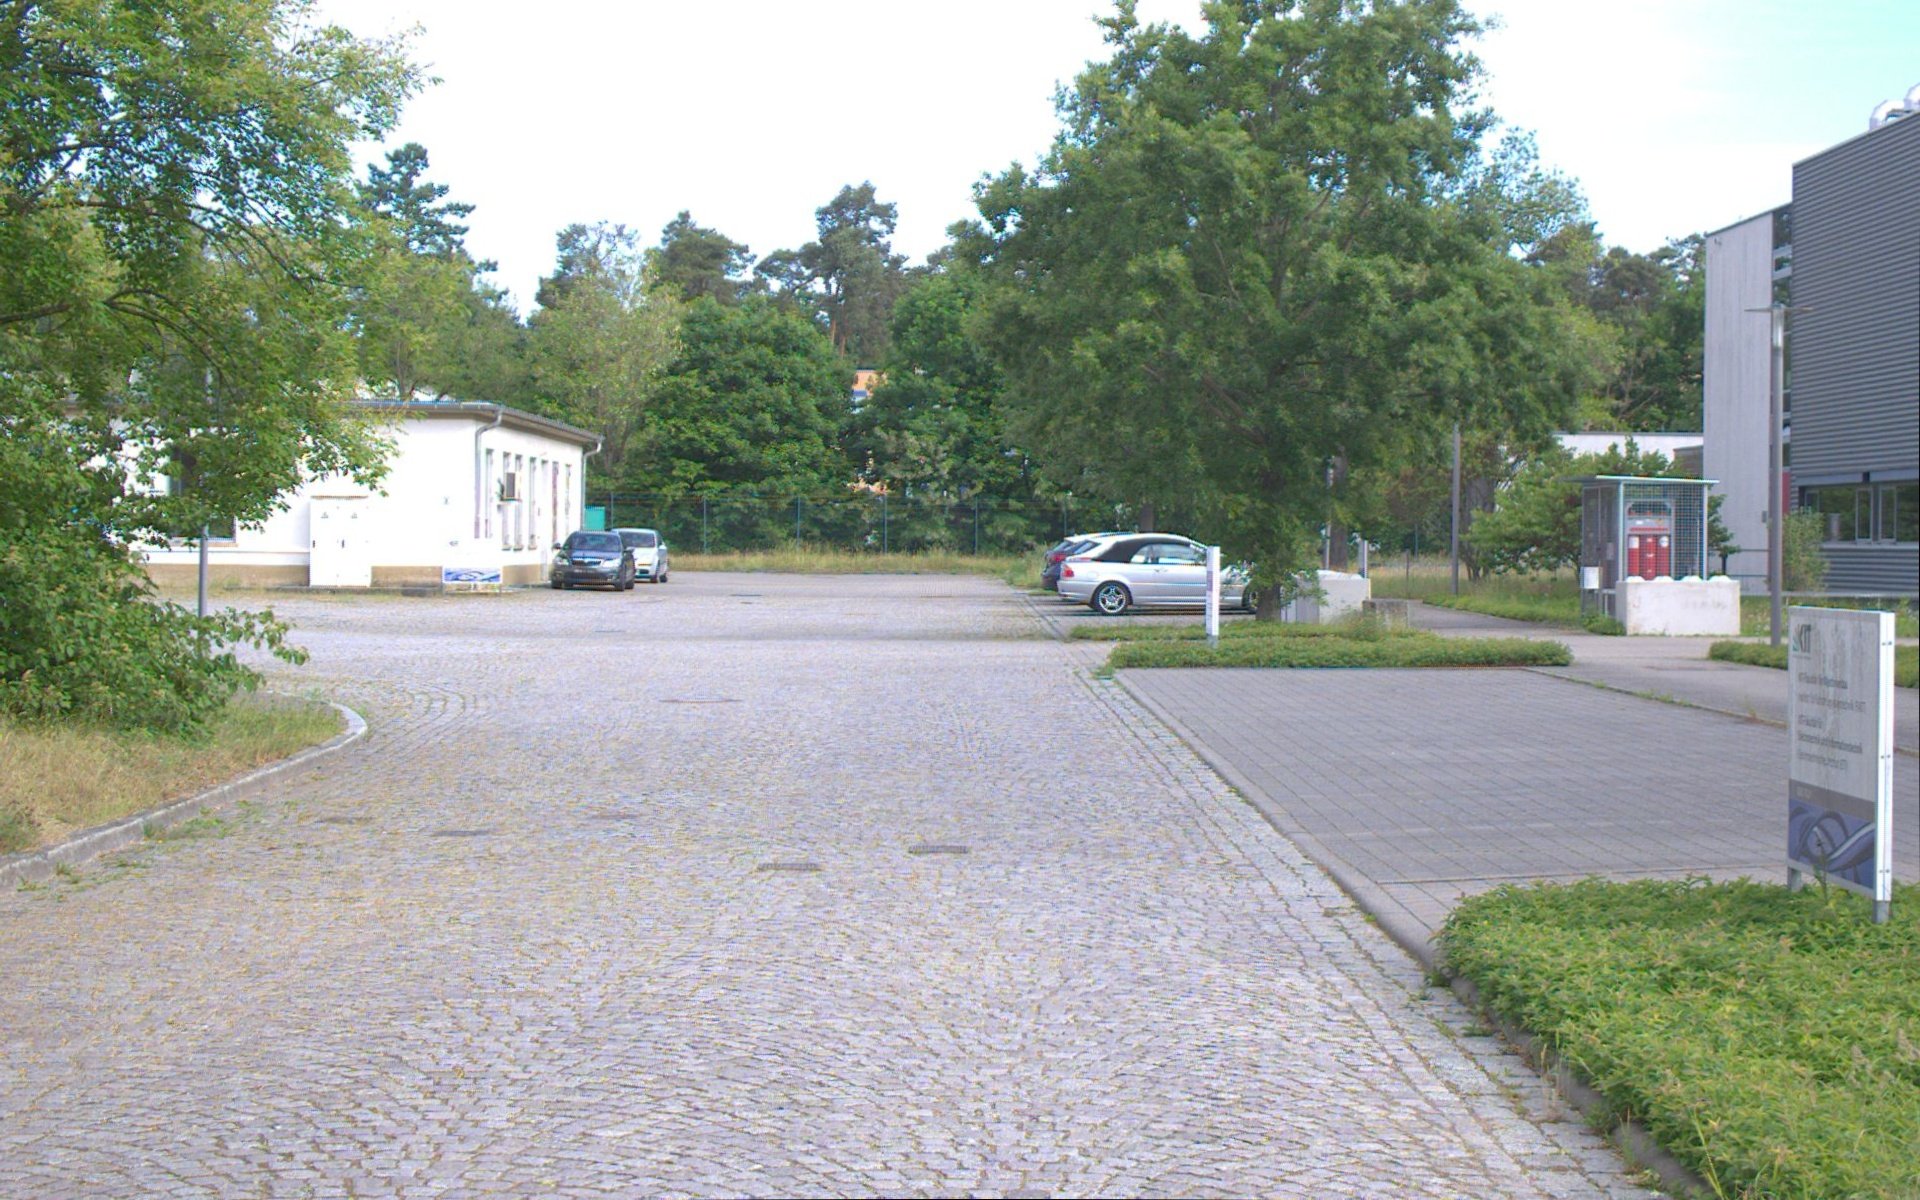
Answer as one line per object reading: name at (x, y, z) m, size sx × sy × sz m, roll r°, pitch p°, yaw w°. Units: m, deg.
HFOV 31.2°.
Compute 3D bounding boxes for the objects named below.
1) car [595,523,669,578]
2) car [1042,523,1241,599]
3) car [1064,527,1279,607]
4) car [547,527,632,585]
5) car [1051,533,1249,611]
car at (-9.036, -1.384, 94.864) m, size 1.648 × 1.453 × 3.998 m, roll 1°, pitch 1°, yaw 0°
car at (3.712, -0.804, 70.761) m, size 3.984 × 1.470 × 1.653 m, roll -1°, pitch 1°, yaw 1°
car at (4.010, -0.637, 65.631) m, size 3.984 × 1.443 × 1.653 m, roll -1°, pitch 1°, yaw 1°
car at (-9.079, -1.100, 84.524) m, size 1.648 × 1.364 × 3.998 m, roll 1°, pitch 1°, yaw 0°
car at (3.459, -0.522, 62.939) m, size 3.522 × 1.357 × 1.622 m, roll -1°, pitch 1°, yaw 0°
